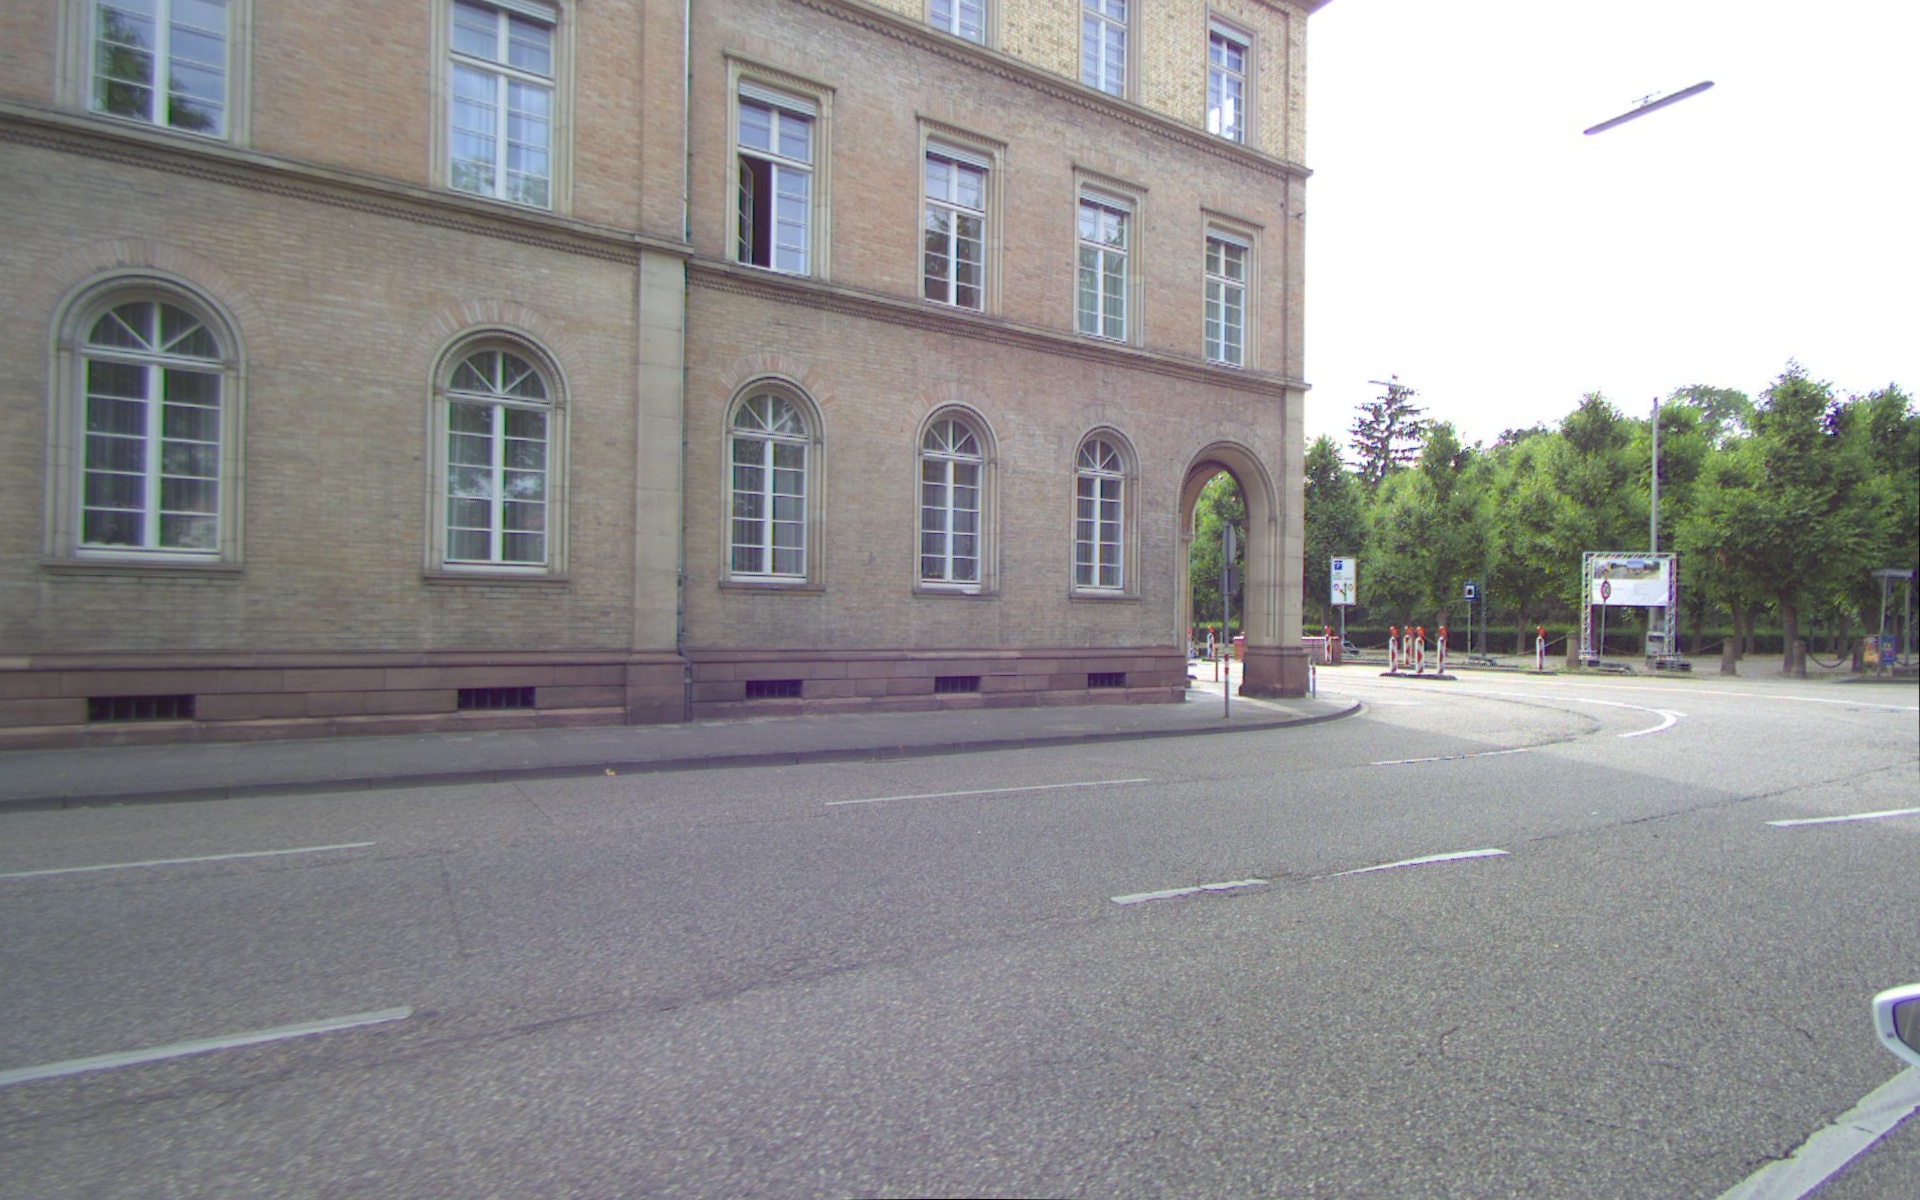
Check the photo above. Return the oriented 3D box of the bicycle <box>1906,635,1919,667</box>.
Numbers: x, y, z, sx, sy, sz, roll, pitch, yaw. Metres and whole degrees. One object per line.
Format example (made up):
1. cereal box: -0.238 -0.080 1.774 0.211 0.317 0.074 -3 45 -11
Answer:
1. bicycle: 35.836 1.892 37.279 0.941 1.125 2.566 2 0 41
